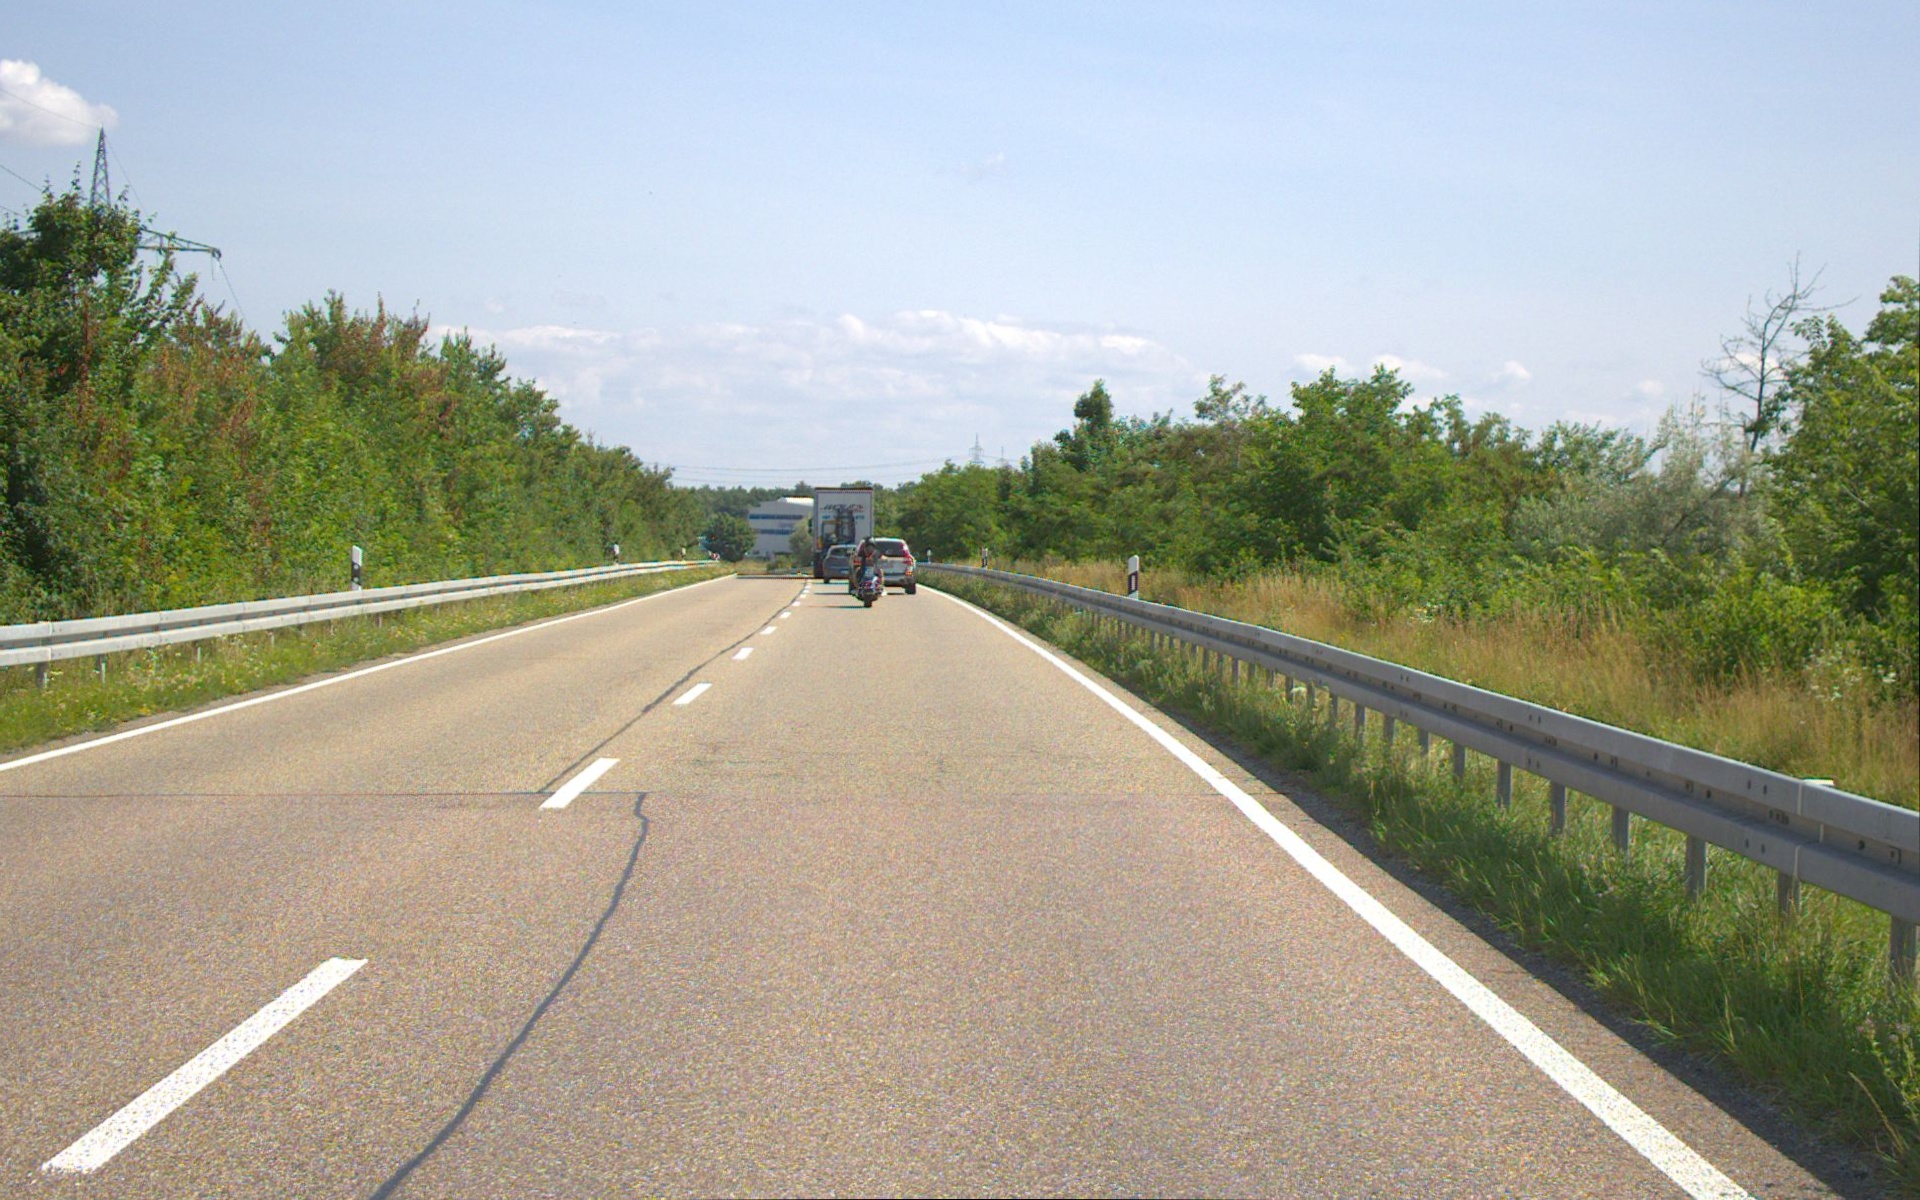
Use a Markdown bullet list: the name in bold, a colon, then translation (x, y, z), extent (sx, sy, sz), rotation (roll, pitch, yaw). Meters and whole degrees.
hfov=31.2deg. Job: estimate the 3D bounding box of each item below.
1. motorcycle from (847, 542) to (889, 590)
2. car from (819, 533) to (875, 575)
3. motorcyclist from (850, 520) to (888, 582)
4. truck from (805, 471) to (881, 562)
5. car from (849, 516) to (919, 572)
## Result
- **motorcycle**: translation (-1.987, -0.746, 74.724), extent (0.780, 0.972, 2.361), rotation (1, 2, 1)
- **car**: translation (-4.197, -1.723, 127.720), extent (1.866, 1.415, 4.000), rotation (1, 2, 1)
- **motorcyclist**: translation (-1.972, -1.069, 74.733), extent (0.780, 1.321, 0.813), rotation (1, 2, 1)
- **truck**: translation (-5.329, -3.770, 154.616), extent (3.241, 3.965, 9.445), rotation (1, 1, -3)
- **car**: translation (-2.124, -1.564, 95.542), extent (1.825, 1.446, 4.001), rotation (1, 2, -3)
